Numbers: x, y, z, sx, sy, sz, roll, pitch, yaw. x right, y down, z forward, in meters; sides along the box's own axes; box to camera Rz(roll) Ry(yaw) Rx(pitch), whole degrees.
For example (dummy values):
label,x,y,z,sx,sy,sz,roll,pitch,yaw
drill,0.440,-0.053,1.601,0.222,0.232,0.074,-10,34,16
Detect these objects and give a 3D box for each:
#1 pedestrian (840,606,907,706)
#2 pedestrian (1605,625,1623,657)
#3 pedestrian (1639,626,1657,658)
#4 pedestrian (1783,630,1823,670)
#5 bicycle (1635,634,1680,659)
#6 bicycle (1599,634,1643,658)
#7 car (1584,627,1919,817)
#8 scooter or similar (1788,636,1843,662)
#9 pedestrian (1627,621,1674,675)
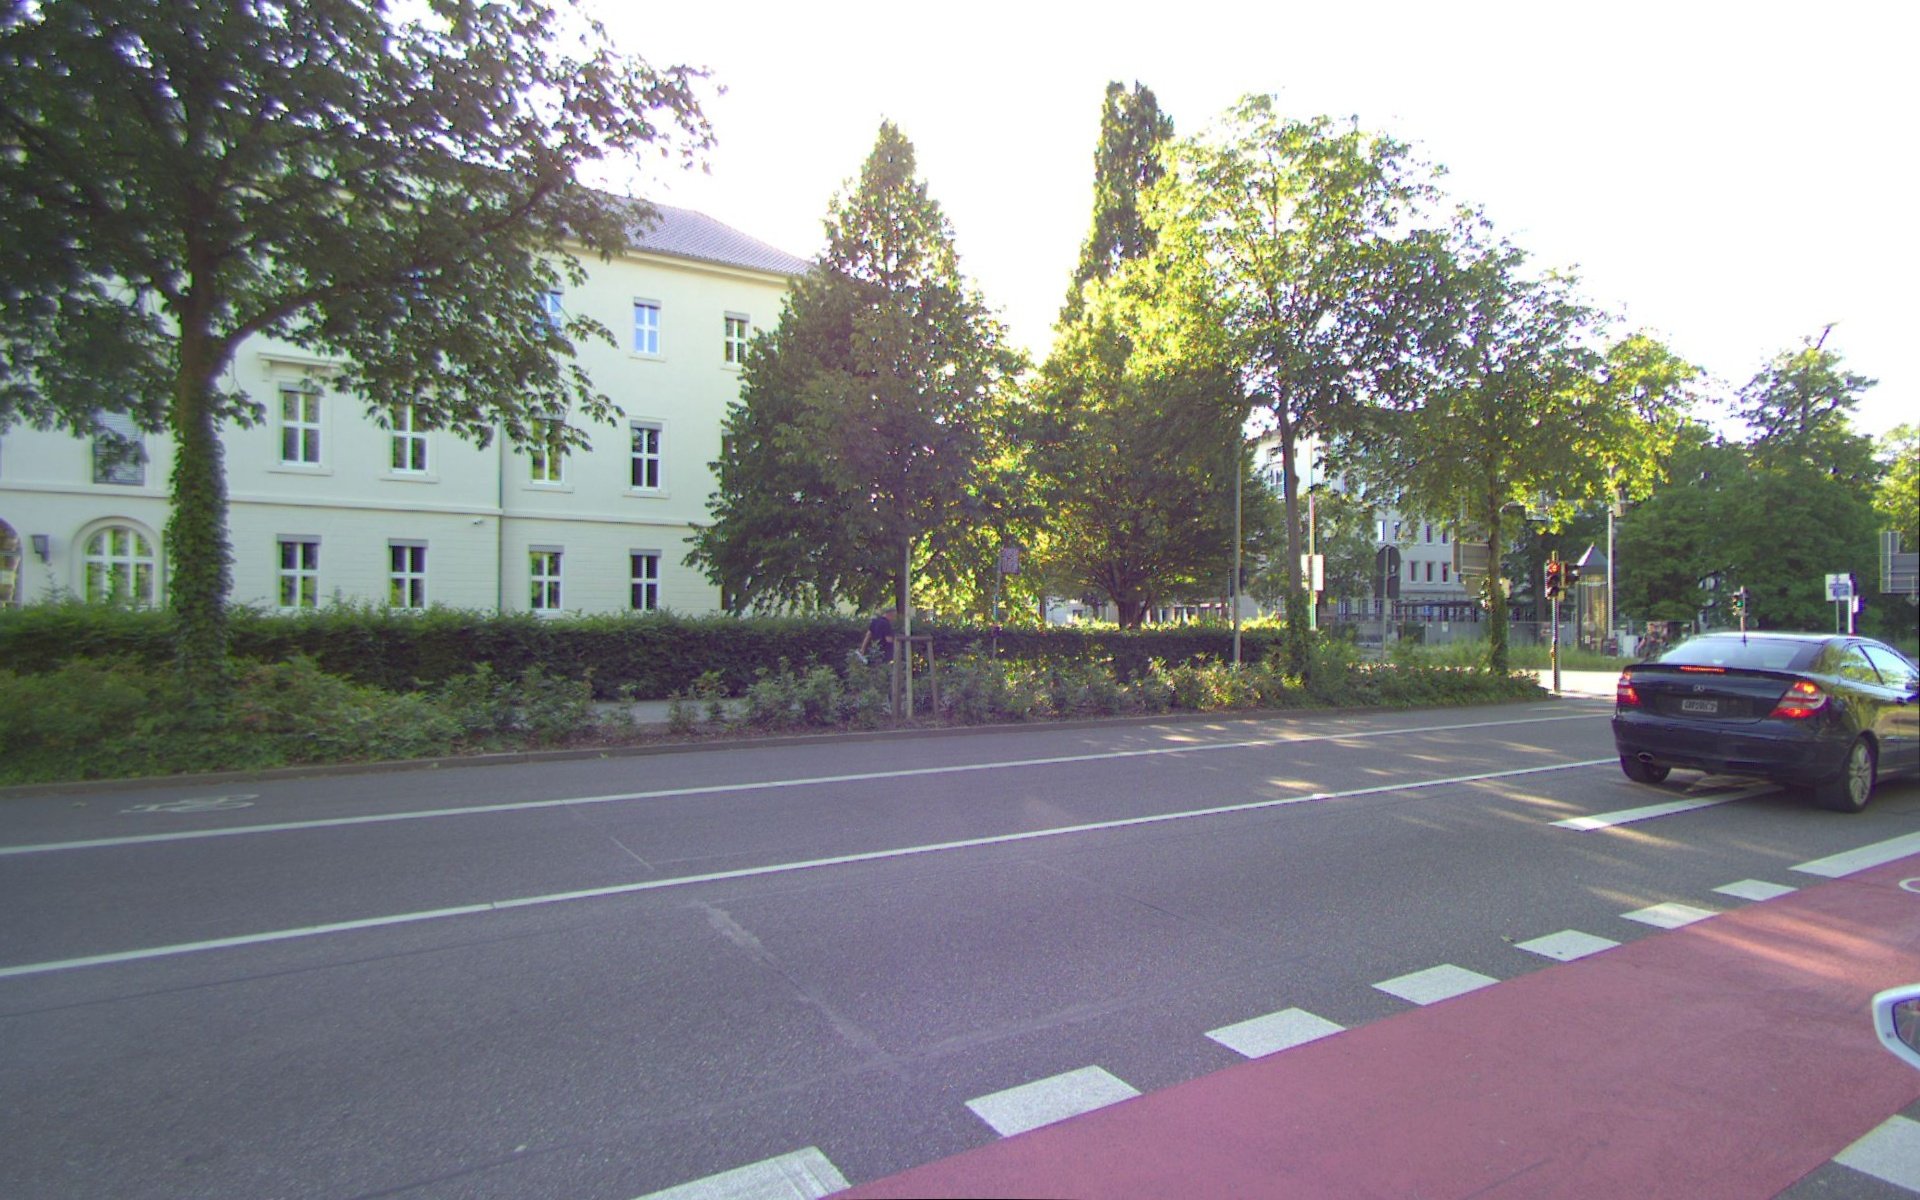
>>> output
label,x,y,z,sx,sy,sz,roll,pitch,yaw
pedestrian,-1.571,0.995,18.174,0.956,1.743,0.831,1,-2,-28
pedestrian,33.876,2.115,52.027,0.442,1.664,0.624,1,0,-39
pedestrian,34.484,2.098,50.365,0.442,1.601,0.624,1,0,-39
pedestrian,35.332,2.090,42.112,0.992,1.624,1.080,1,-2,-36
bicycle,34.773,2.330,50.105,0.288,1.163,1.849,1,-1,-36
bicycle,34.140,2.350,51.906,0.439,1.163,1.849,1,-1,-36
car,7.851,0.972,9.368,4.214,1.423,1.697,1,-2,-30
scooter or similar,39.514,2.276,46.426,1.882,1.139,0.713,1,0,3
pedestrian,26.378,1.826,38.391,1.175,2.040,0.992,1,0,-25
